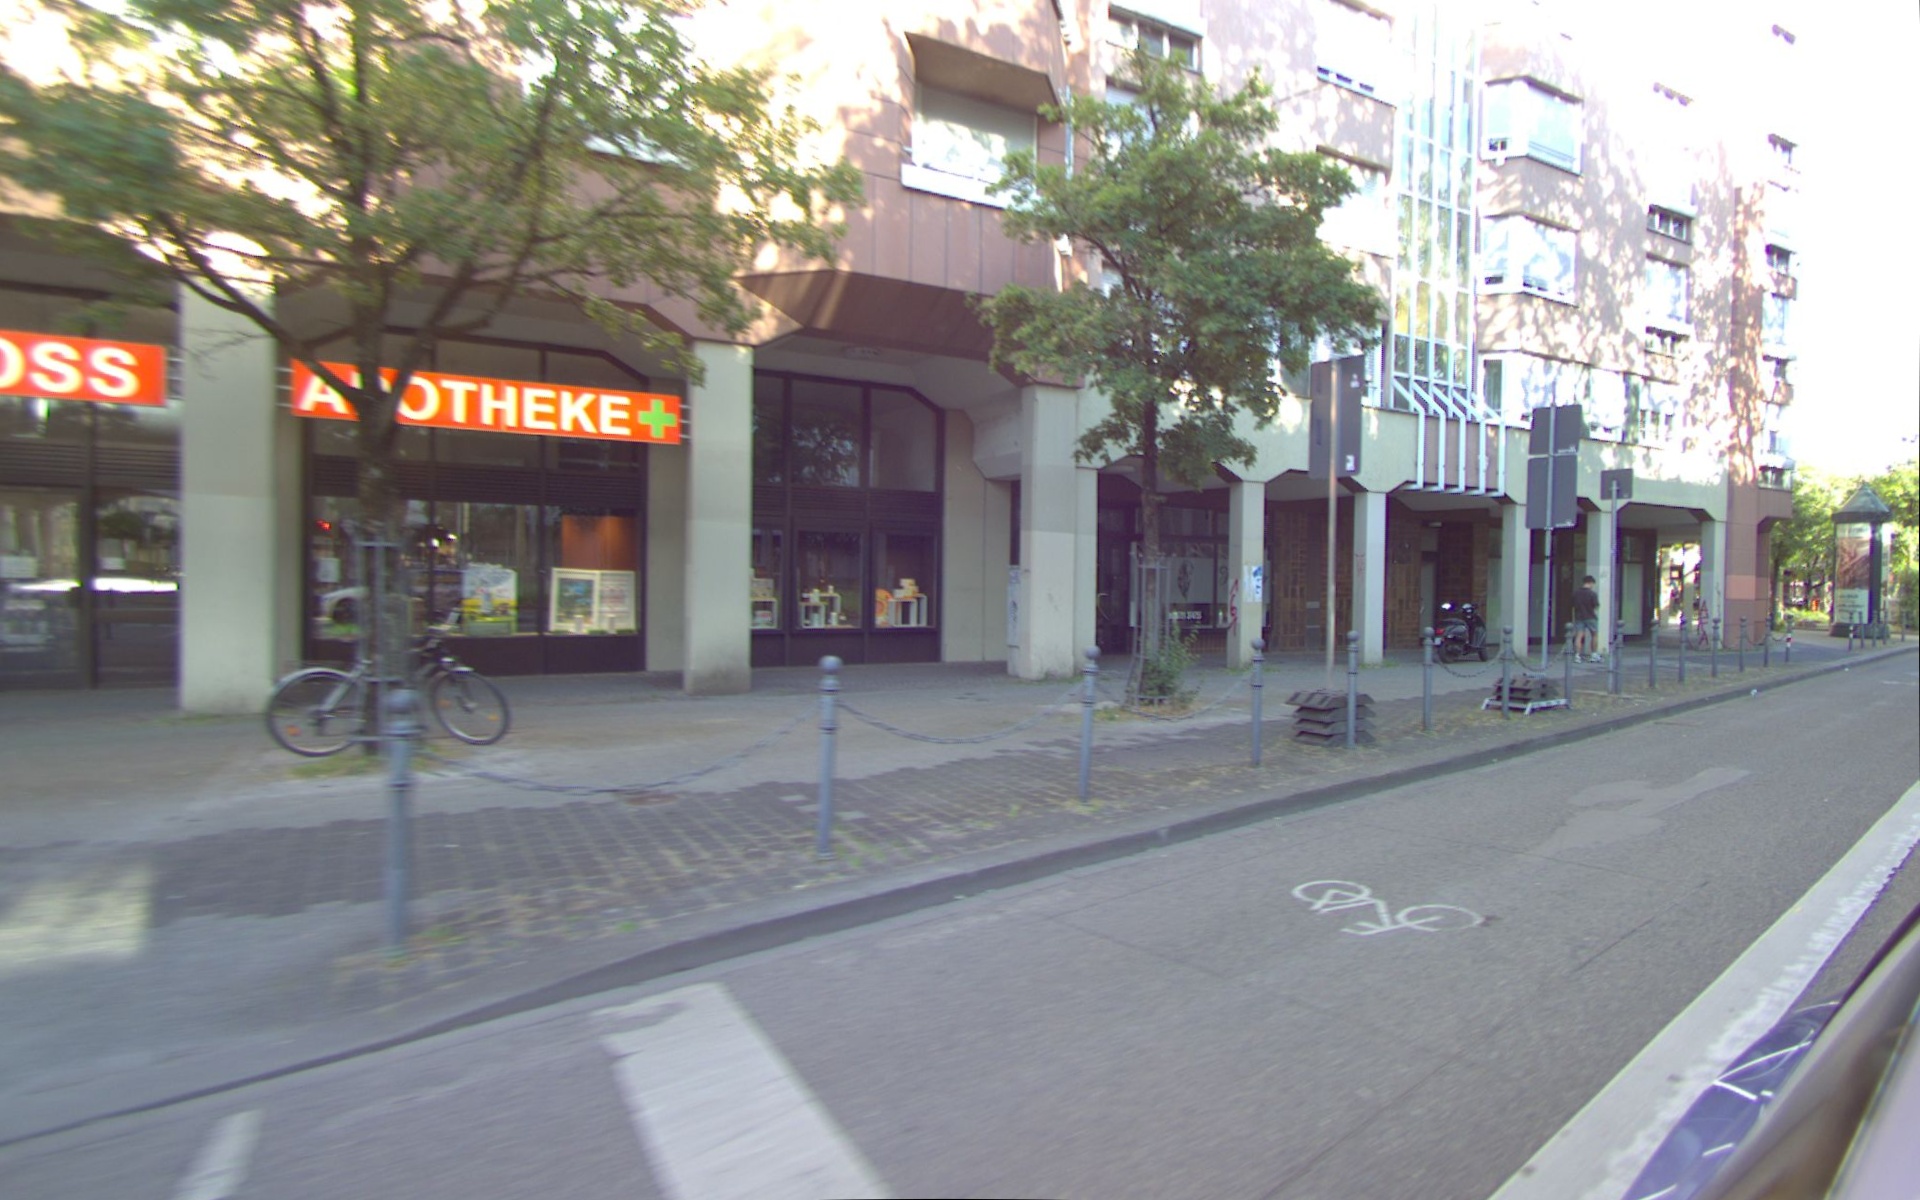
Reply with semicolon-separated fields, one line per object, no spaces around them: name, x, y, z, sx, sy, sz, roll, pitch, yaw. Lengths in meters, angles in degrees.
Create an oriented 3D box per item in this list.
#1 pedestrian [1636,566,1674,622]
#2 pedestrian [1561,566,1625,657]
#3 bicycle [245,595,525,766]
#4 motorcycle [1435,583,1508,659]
pedestrian;25.318;-0.231;36.863;0.802;2.006;0.849;0;1;-31
pedestrian;12.703;0.214;20.311;0.820;1.760;0.784;0;1;-31
bicycle;-4.537;0.585;8.118;1.887;1.241;0.625;0;1;-27
motorcycle;9.934;0.379;19.626;2.053;1.389;0.489;0;1;-40
